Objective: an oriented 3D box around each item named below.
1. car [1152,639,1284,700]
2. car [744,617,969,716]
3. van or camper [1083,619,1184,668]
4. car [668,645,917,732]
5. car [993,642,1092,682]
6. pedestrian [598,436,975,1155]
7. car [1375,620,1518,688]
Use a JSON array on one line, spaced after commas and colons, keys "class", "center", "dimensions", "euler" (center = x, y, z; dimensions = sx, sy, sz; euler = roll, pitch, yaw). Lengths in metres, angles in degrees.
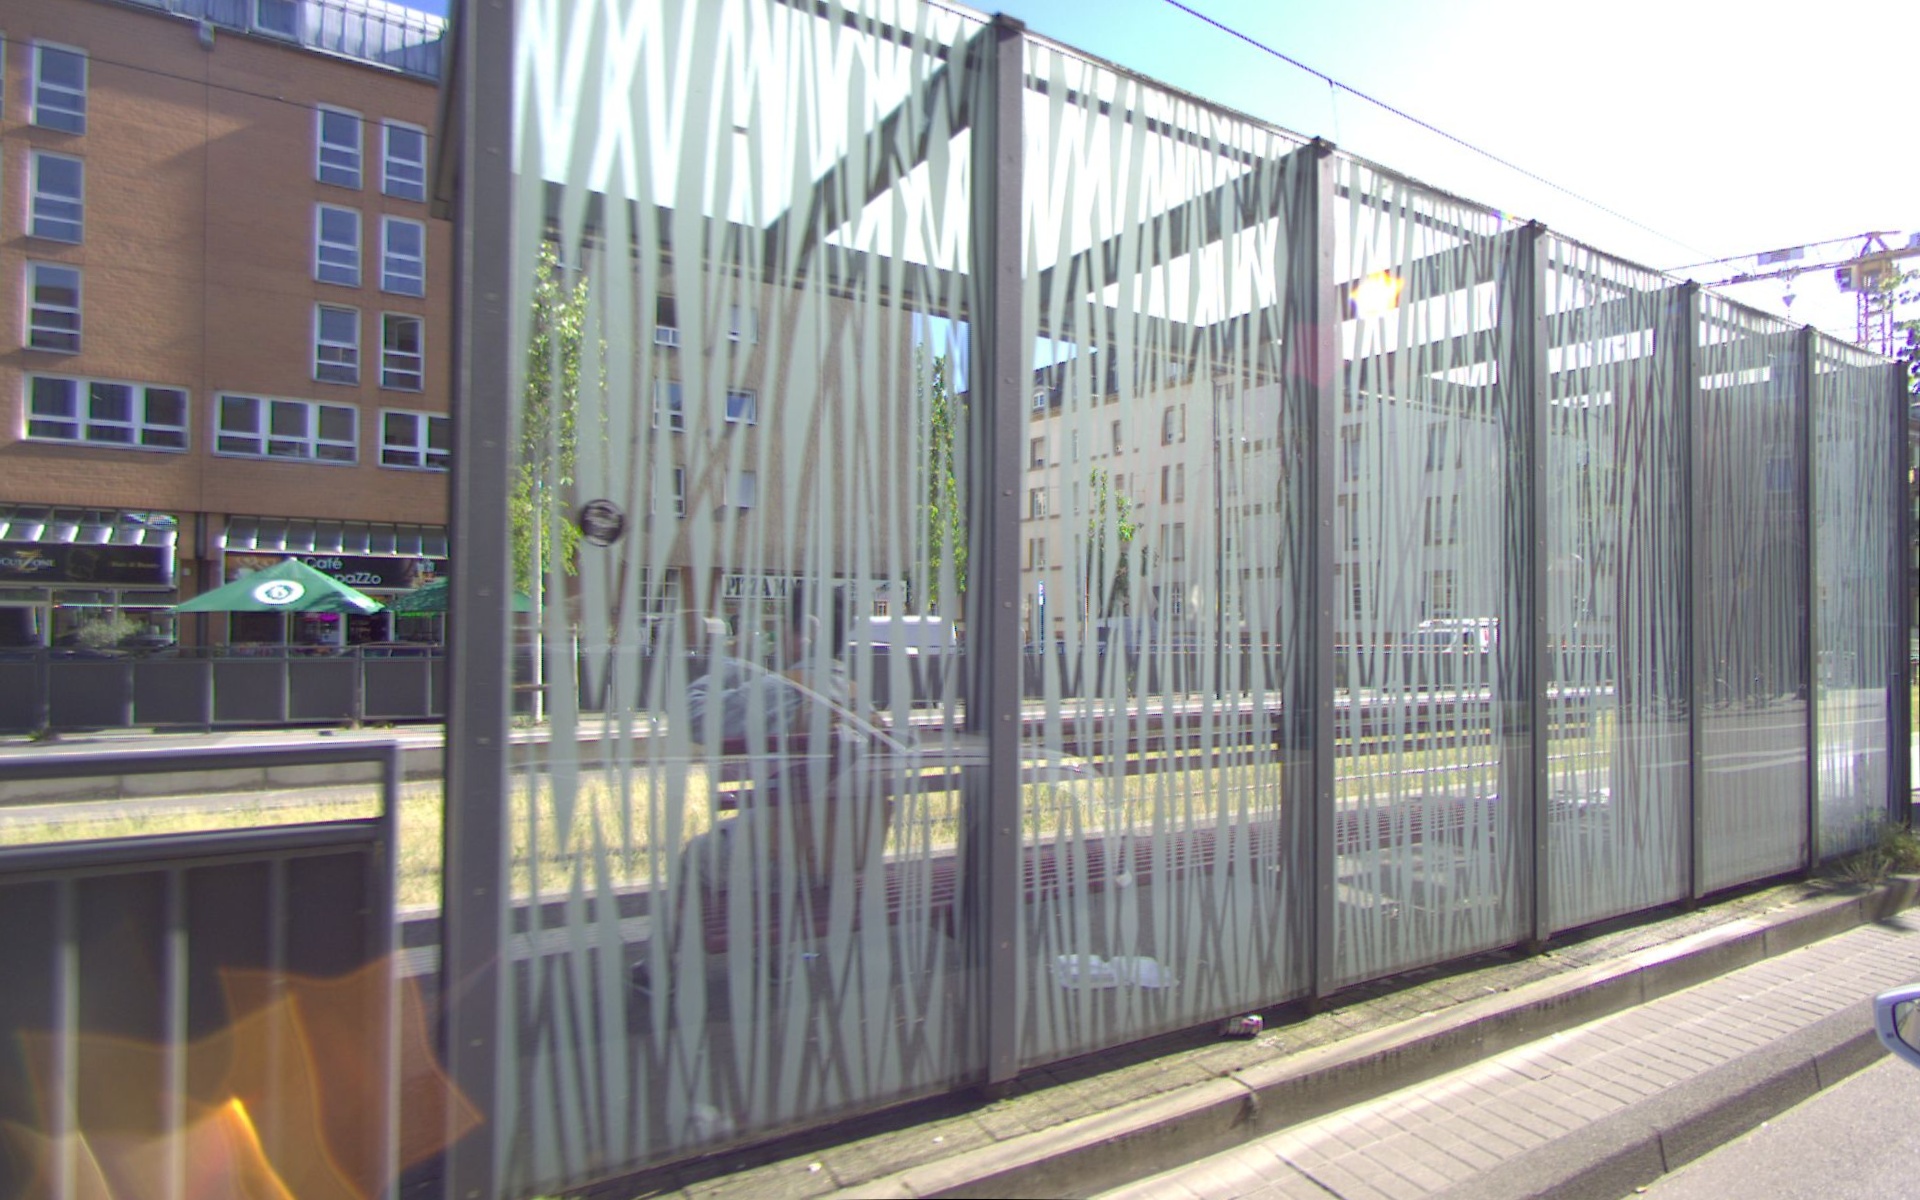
[{"class": "car", "center": [8.140, 2.131, 31.581], "dimensions": [3.955, 1.782, 1.806], "euler": [1, -2, -32]}, {"class": "car", "center": [-2.698, 1.671, 26.367], "dimensions": [5.564, 2.401, 1.989], "euler": [1, -1, -23]}, {"class": "van or camper", "center": [9.067, 2.238, 52.128], "dimensions": [5.912, 2.432, 1.976], "euler": [2, -3, -42]}, {"class": "car", "center": [-2.864, 1.481, 17.426], "dimensions": [3.916, 1.303, 1.686], "euler": [2, -1, -31]}, {"class": "car", "center": [3.302, 2.412, 39.624], "dimensions": [3.974, 1.470, 1.762], "euler": [2, -3, -44]}, {"class": "pedestrian", "center": [-0.499, 0.436, 2.730], "dimensions": [0.788, 1.556, 0.809], "euler": [1, -2, -29]}, {"class": "car", "center": [14.058, 1.547, 28.969], "dimensions": [4.043, 1.818, 1.810], "euler": [2, -1, -31]}]
